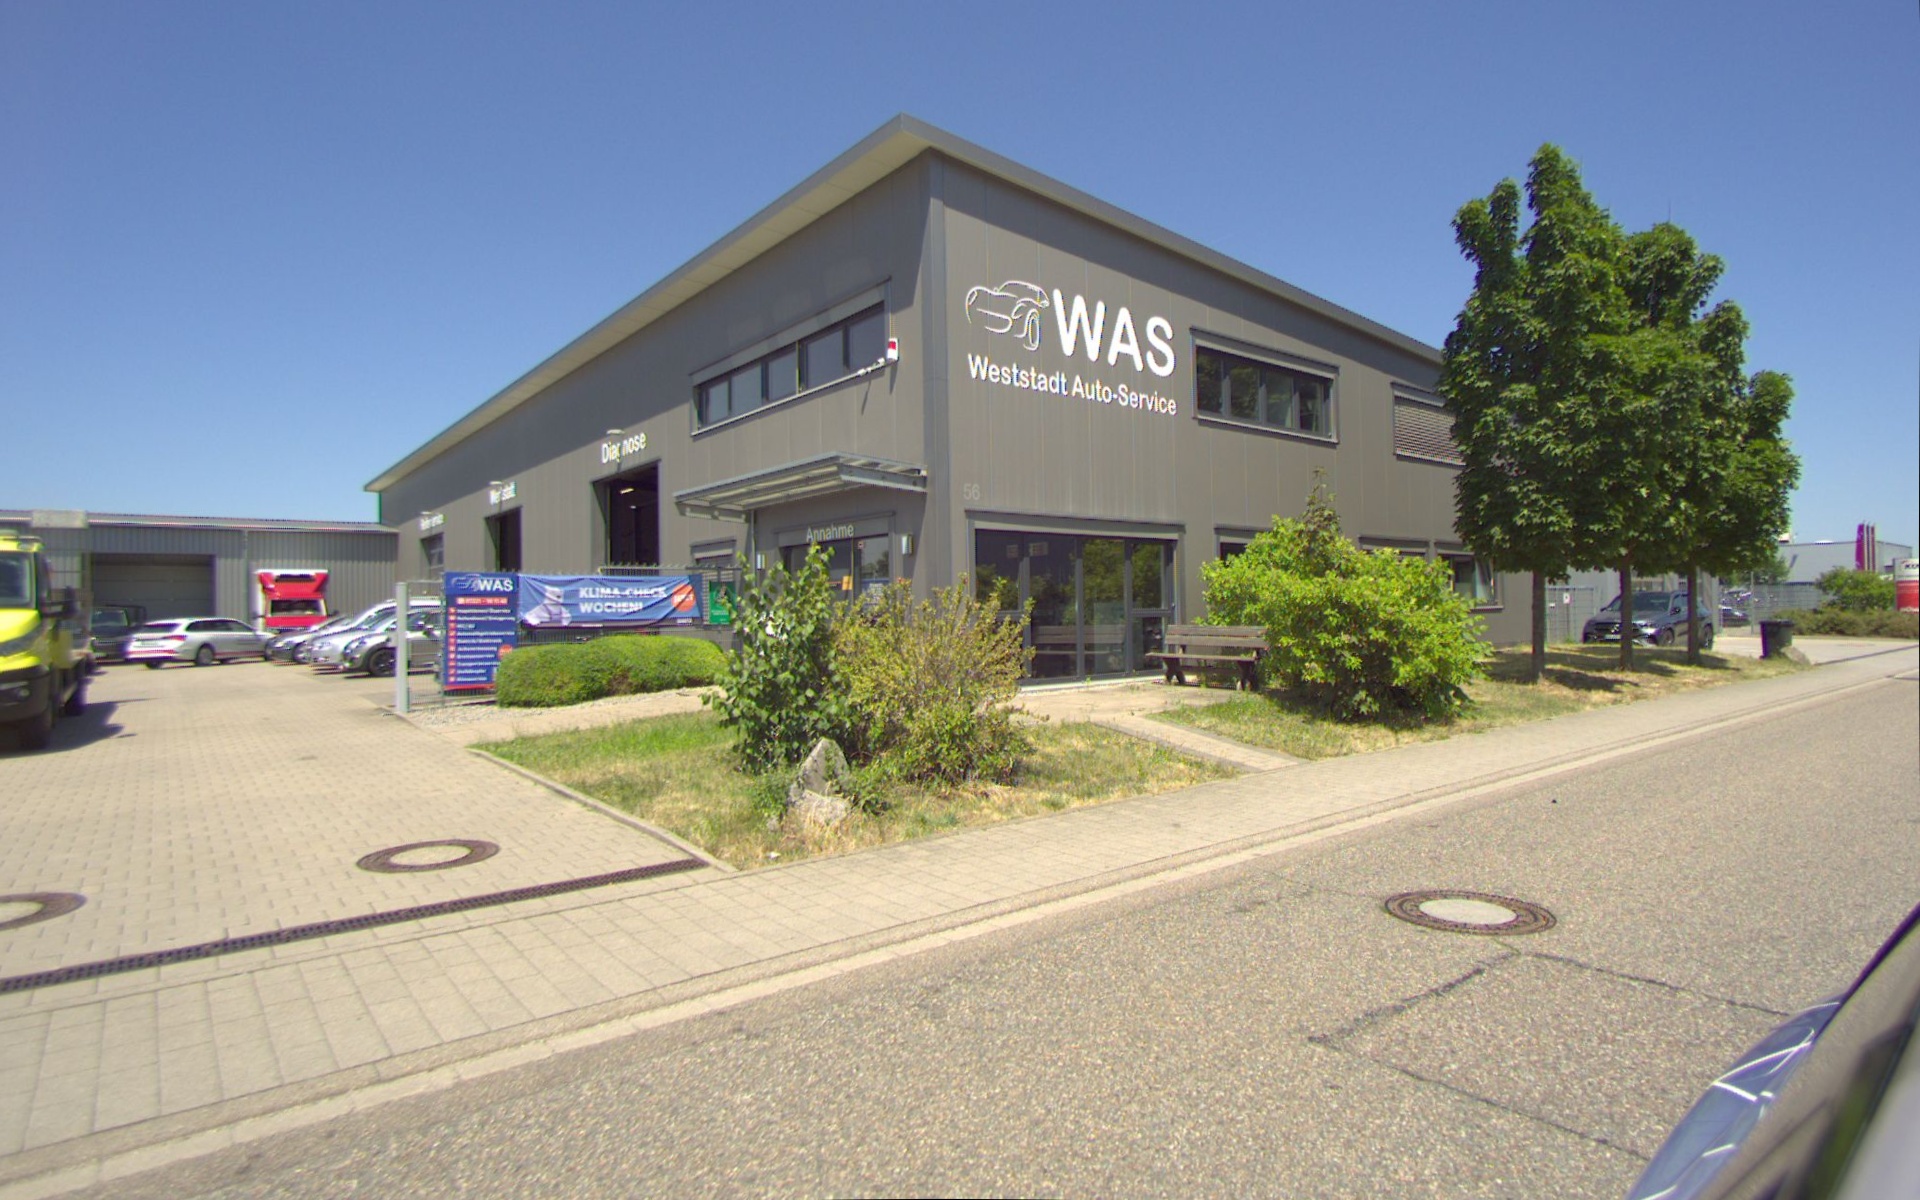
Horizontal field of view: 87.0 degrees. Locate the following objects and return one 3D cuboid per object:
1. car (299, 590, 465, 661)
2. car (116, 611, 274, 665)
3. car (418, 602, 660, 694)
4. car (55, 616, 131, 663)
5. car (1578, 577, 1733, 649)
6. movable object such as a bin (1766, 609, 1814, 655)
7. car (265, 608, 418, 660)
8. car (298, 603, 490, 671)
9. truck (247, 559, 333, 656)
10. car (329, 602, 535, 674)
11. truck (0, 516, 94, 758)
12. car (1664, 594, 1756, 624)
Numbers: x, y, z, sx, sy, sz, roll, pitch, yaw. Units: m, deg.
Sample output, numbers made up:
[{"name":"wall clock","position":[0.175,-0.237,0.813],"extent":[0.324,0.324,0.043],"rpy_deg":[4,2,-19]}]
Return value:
[{"name":"car","position":[-16.242,0.680,28.509],"extent":[3.860,1.822,1.720],"rpy_deg":[-1,-1,-38]},{"name":"car","position":[-23.204,1.109,30.895],"extent":[1.691,1.516,3.995],"rpy_deg":[-1,-1,3]},{"name":"car","position":[-7.113,0.739,17.226],"extent":[3.506,1.321,1.589],"rpy_deg":[-1,1,-38]},{"name":"car","position":[-29.150,1.315,34.099],"extent":[1.691,1.435,3.913],"rpy_deg":[-1,-1,-37]},{"name":"car","position":[19.419,0.298,28.194],"extent":[4.823,1.833,2.158],"rpy_deg":[-1,1,-37]},{"name":"movable object such as a bin","position":[19.858,0.750,24.210],"extent":[0.793,1.059,0.618],"rpy_deg":[-1,0,-27]},{"name":"car","position":[-18.353,0.995,30.090],"extent":[3.689,1.354,1.720],"rpy_deg":[-1,-1,-38]},{"name":"car","position":[-13.713,0.849,24.604],"extent":[3.845,1.435,1.720],"rpy_deg":[-1,-1,-38]},{"name":"truck","position":[-25.013,0.309,37.672],"extent":[2.314,3.285,6.268],"rpy_deg":[-1,-1,-36]},{"name":"car","position":[-11.779,0.796,22.674],"extent":[3.845,1.435,1.721],"rpy_deg":[-1,-1,-38]},{"name":"truck","position":[-11.802,0.370,11.955],"extent":[2.141,2.400,5.946],"rpy_deg":[-1,0,-39]},{"name":"car","position":[36.608,0.442,49.419],"extent":[1.763,1.387,3.352],"rpy_deg":[0,-1,-43]}]
